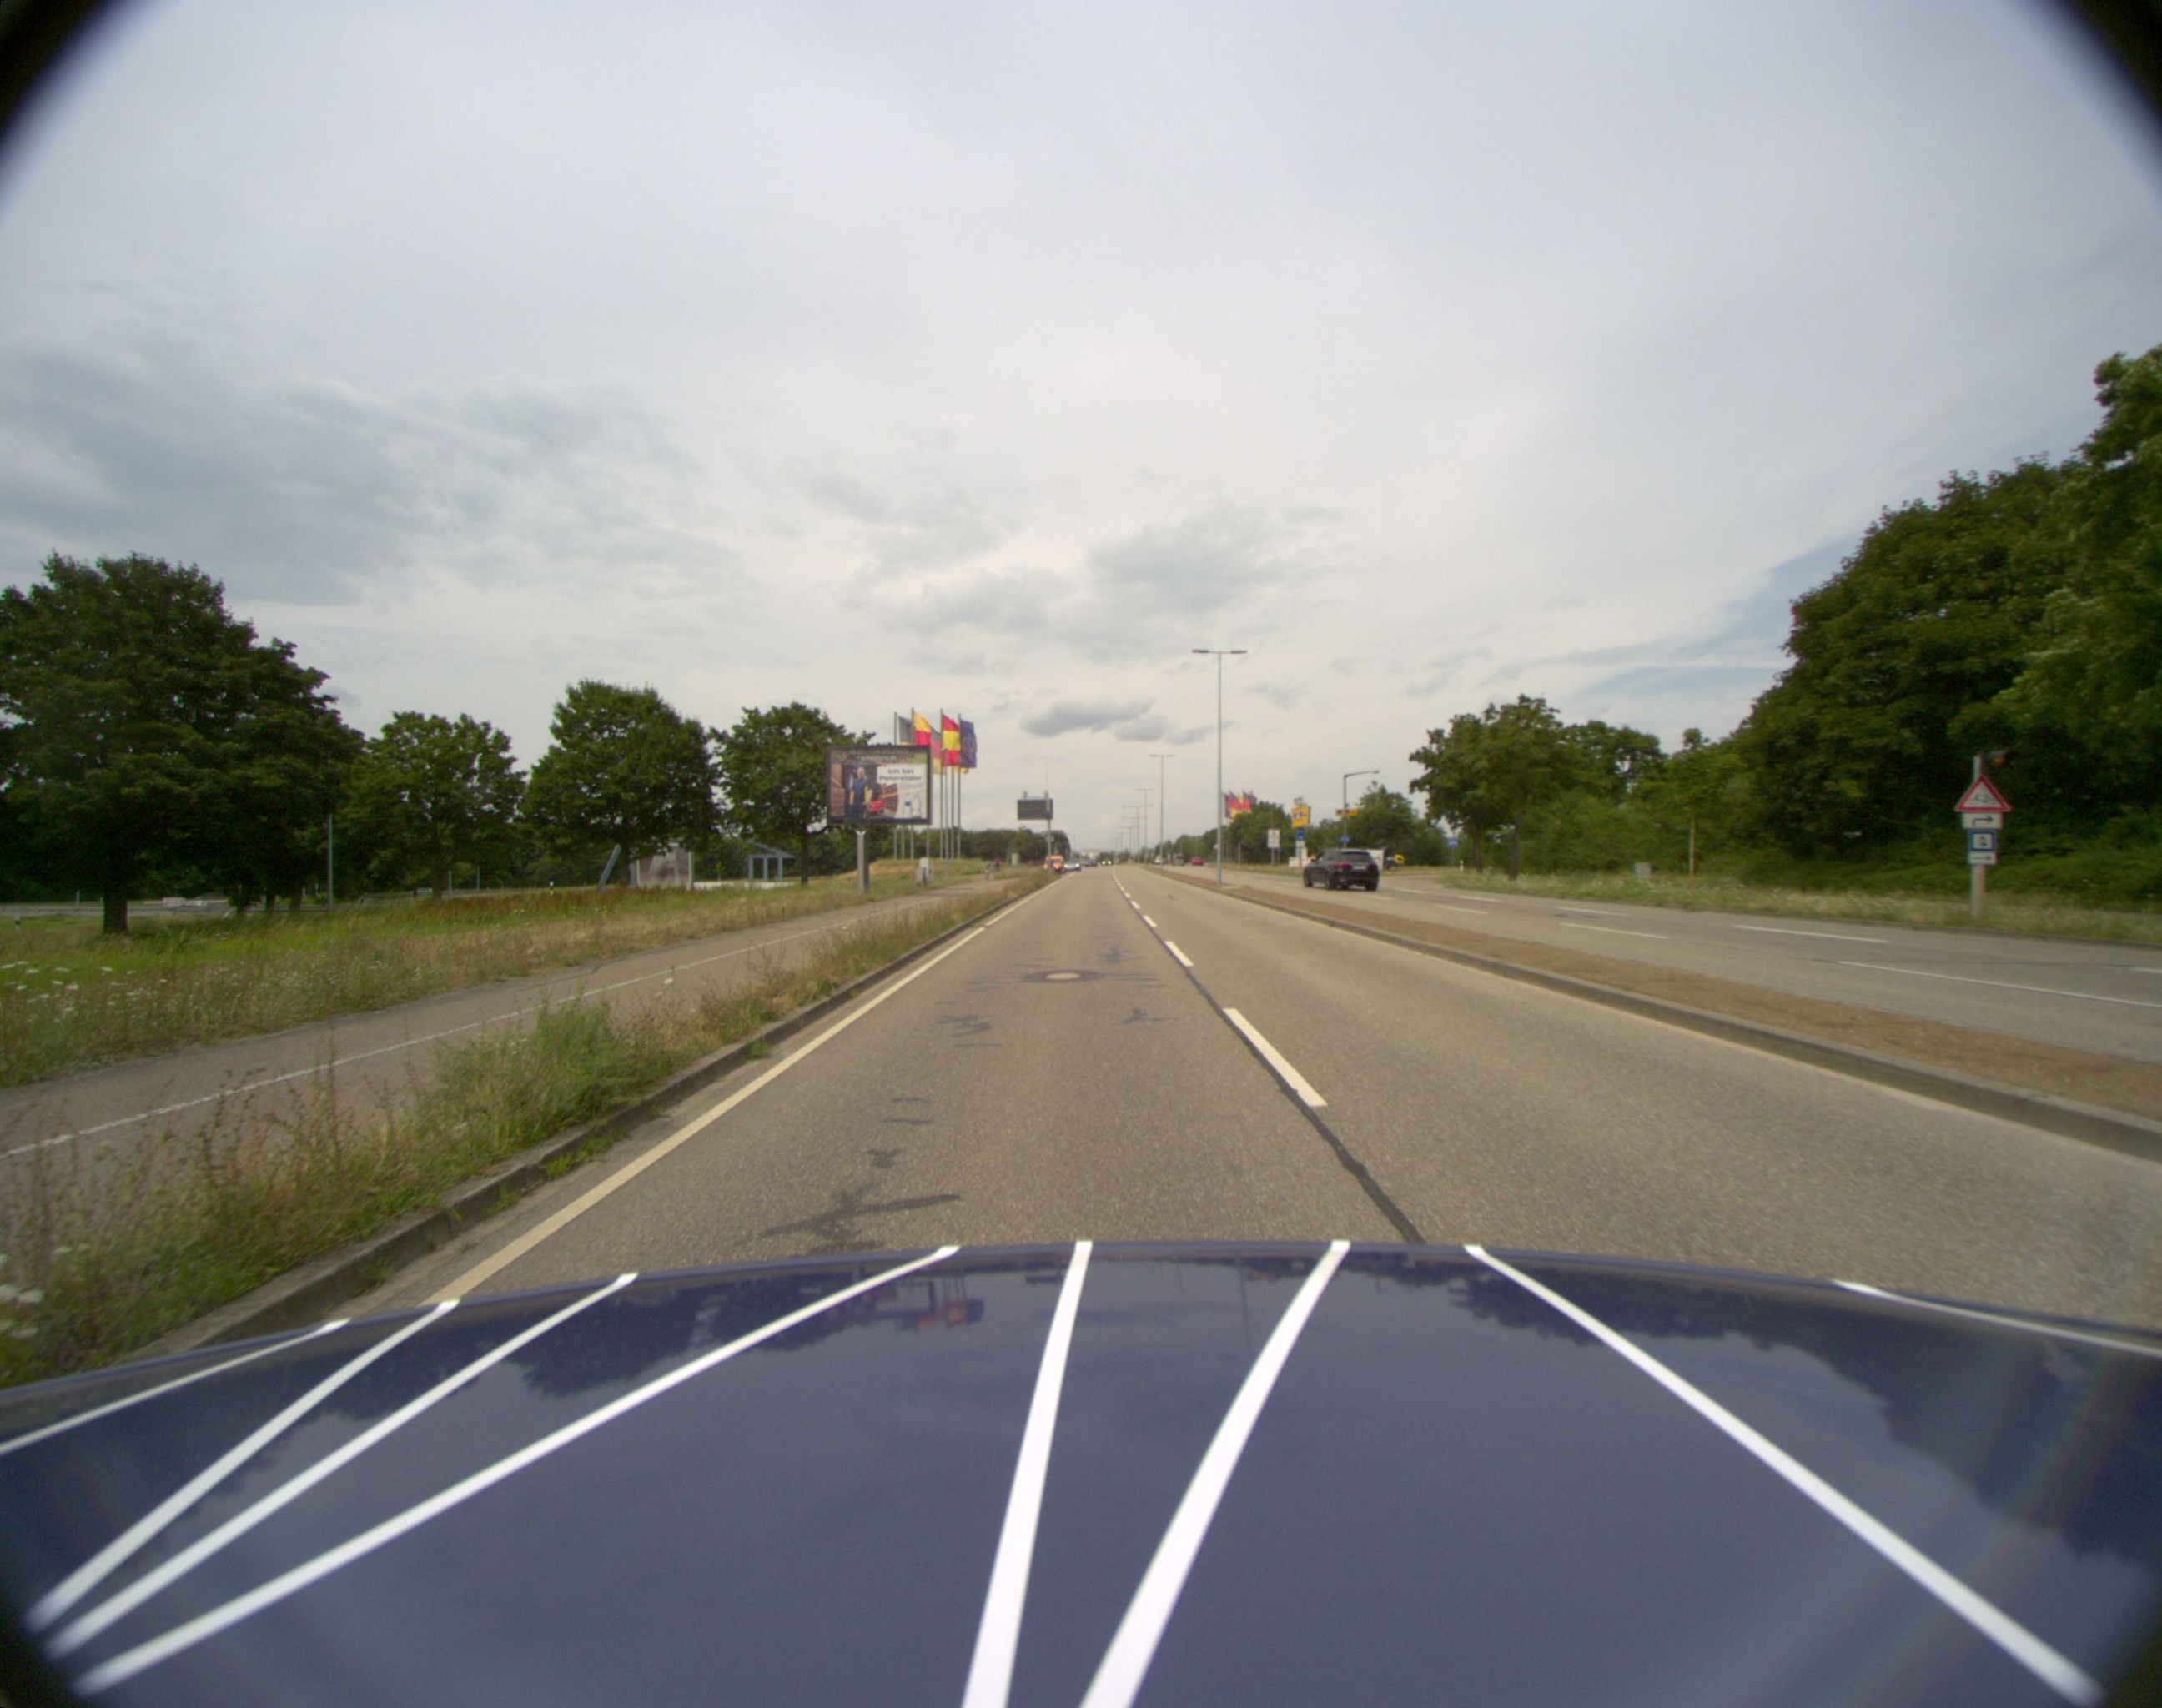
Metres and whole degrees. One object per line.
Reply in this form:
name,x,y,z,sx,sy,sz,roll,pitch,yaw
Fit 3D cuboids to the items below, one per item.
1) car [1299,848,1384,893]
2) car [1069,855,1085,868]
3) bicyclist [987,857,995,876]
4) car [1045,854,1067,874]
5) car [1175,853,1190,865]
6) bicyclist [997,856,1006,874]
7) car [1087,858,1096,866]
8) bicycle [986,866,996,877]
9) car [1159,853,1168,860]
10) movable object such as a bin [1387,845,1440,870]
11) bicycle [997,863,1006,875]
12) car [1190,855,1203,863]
car,11.111,0.718,32.832,1.999,1.800,4.798,0,-1,0
car,-0.490,0.909,86.701,1.695,1.403,3.684,-2,-1,-1
bicyclist,-7.908,1.078,66.940,0.623,1.656,0.669,2,-1,0
car,-2.470,0.992,75.240,1.892,1.824,4.431,-2,-1,1
car,16.517,0.790,123.466,1.907,1.798,4.540,-1,-1,1
bicyclist,-7.913,1.062,75.638,0.705,1.745,0.991,-1,0,0
car,1.757,1.404,128.198,1.558,1.229,3.470,-2,-1,1
bicycle,-7.941,1.557,67.083,0.625,0.883,2.154,-1,0,0
car,18.934,0.631,175.014,1.698,1.619,4.385,-1,-1,2
movable object such as a bin,34.455,0.372,78.724,4.593,2.382,1.999,-1,-1,-9
bicycle,-7.900,1.468,75.658,0.695,1.185,2.461,0,-1,0
car,19.609,0.911,128.954,1.758,1.314,4.348,-1,-1,3
